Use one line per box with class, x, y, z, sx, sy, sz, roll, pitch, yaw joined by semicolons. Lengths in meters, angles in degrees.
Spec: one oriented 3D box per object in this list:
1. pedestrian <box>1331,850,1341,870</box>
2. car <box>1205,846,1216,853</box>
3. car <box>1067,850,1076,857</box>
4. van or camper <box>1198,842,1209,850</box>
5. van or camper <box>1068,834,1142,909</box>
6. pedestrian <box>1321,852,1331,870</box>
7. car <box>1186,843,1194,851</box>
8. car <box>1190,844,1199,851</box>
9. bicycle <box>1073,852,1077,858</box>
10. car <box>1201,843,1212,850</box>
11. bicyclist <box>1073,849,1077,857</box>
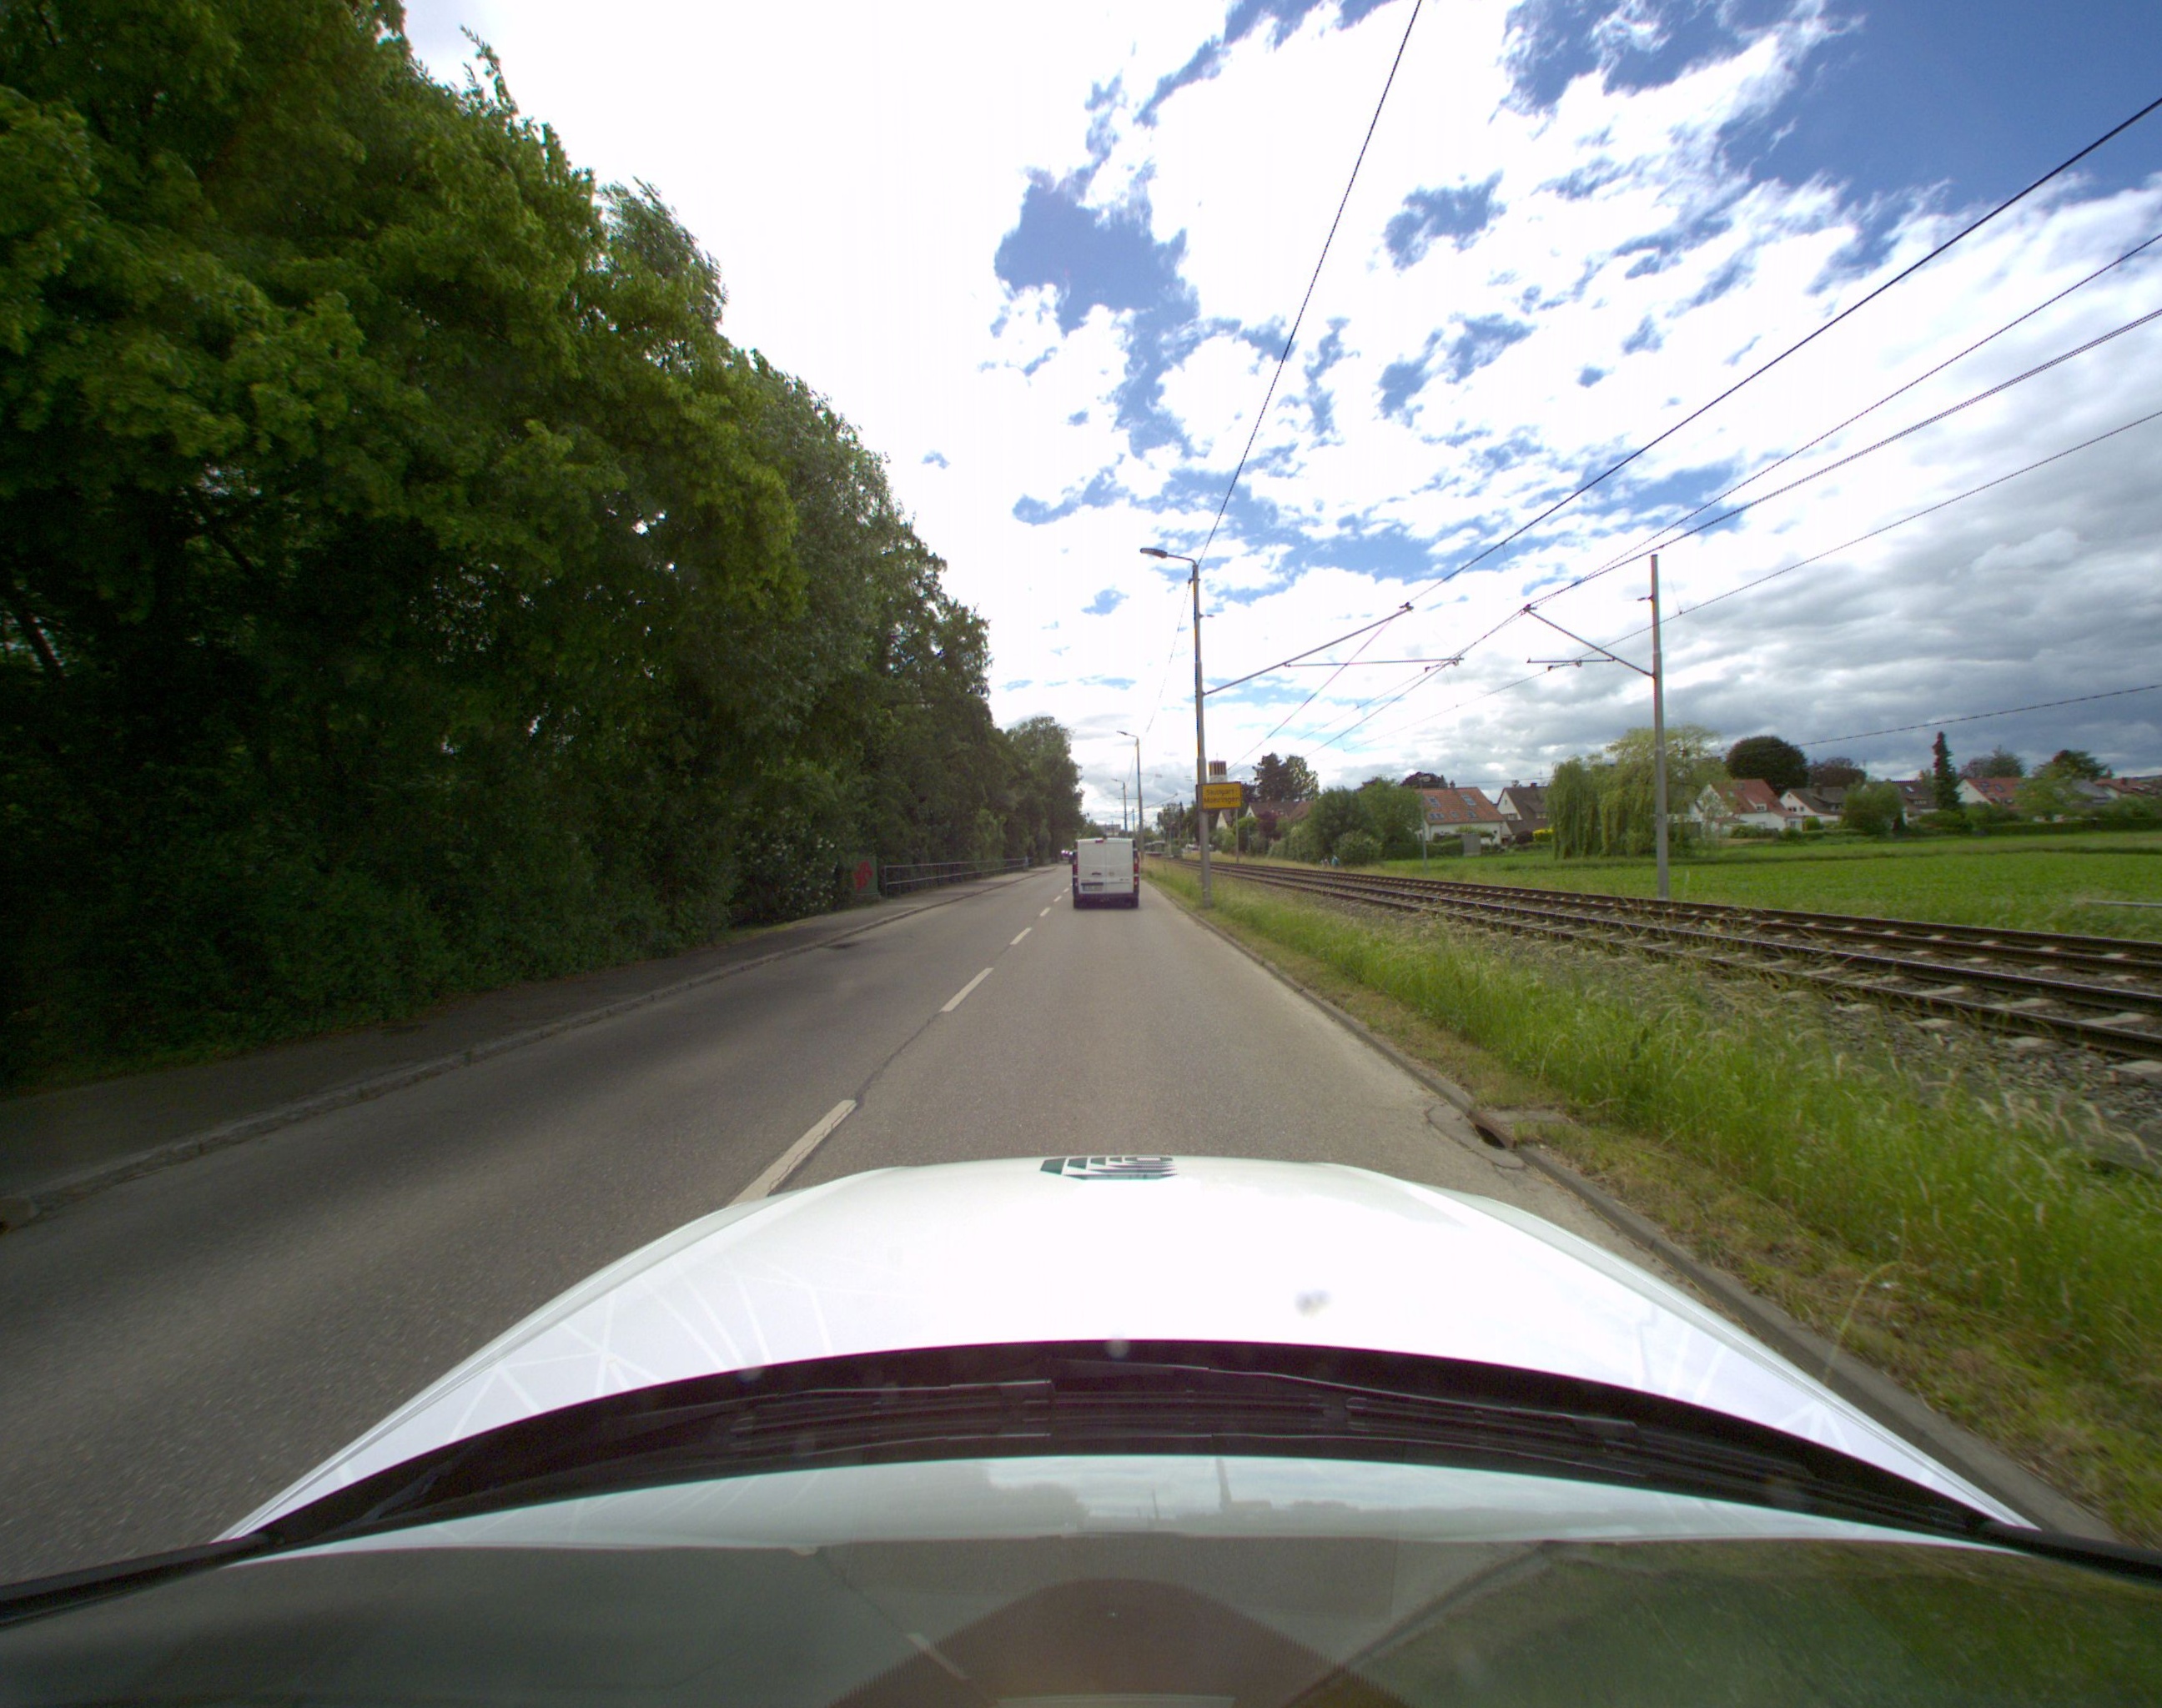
pedestrian;20.733;0.507;66.130;0.614;1.622;0.584;0;0;1
car;28.057;-0.978;176.393;1.876;1.522;4.003;-2;0;2
car;-2.370;-0.112;199.175;1.734;1.504;4.470;-4;1;-5
van or camper;28.234;-1.823;187.196;1.898;1.825;5.051;-2;0;2
van or camper;0.722;0.474;24.200;1.986;2.013;4.448;-1;0;2
pedestrian;19.921;0.582;66.156;0.595;1.430;0.667;0;0;2
car;29.028;-1.856;217.462;1.726;1.914;3.936;-1;0;2
car;29.185;-1.638;208.895;1.876;1.522;4.003;-2;0;2
bicycle;-1.333;0.201;173.910;0.752;1.226;2.309;-4;0;1
car;28.118;-1.634;182.474;1.876;1.522;4.003;-2;0;2
bicyclist;-1.349;-0.250;174.014;0.775;1.549;0.870;-3;0;1
